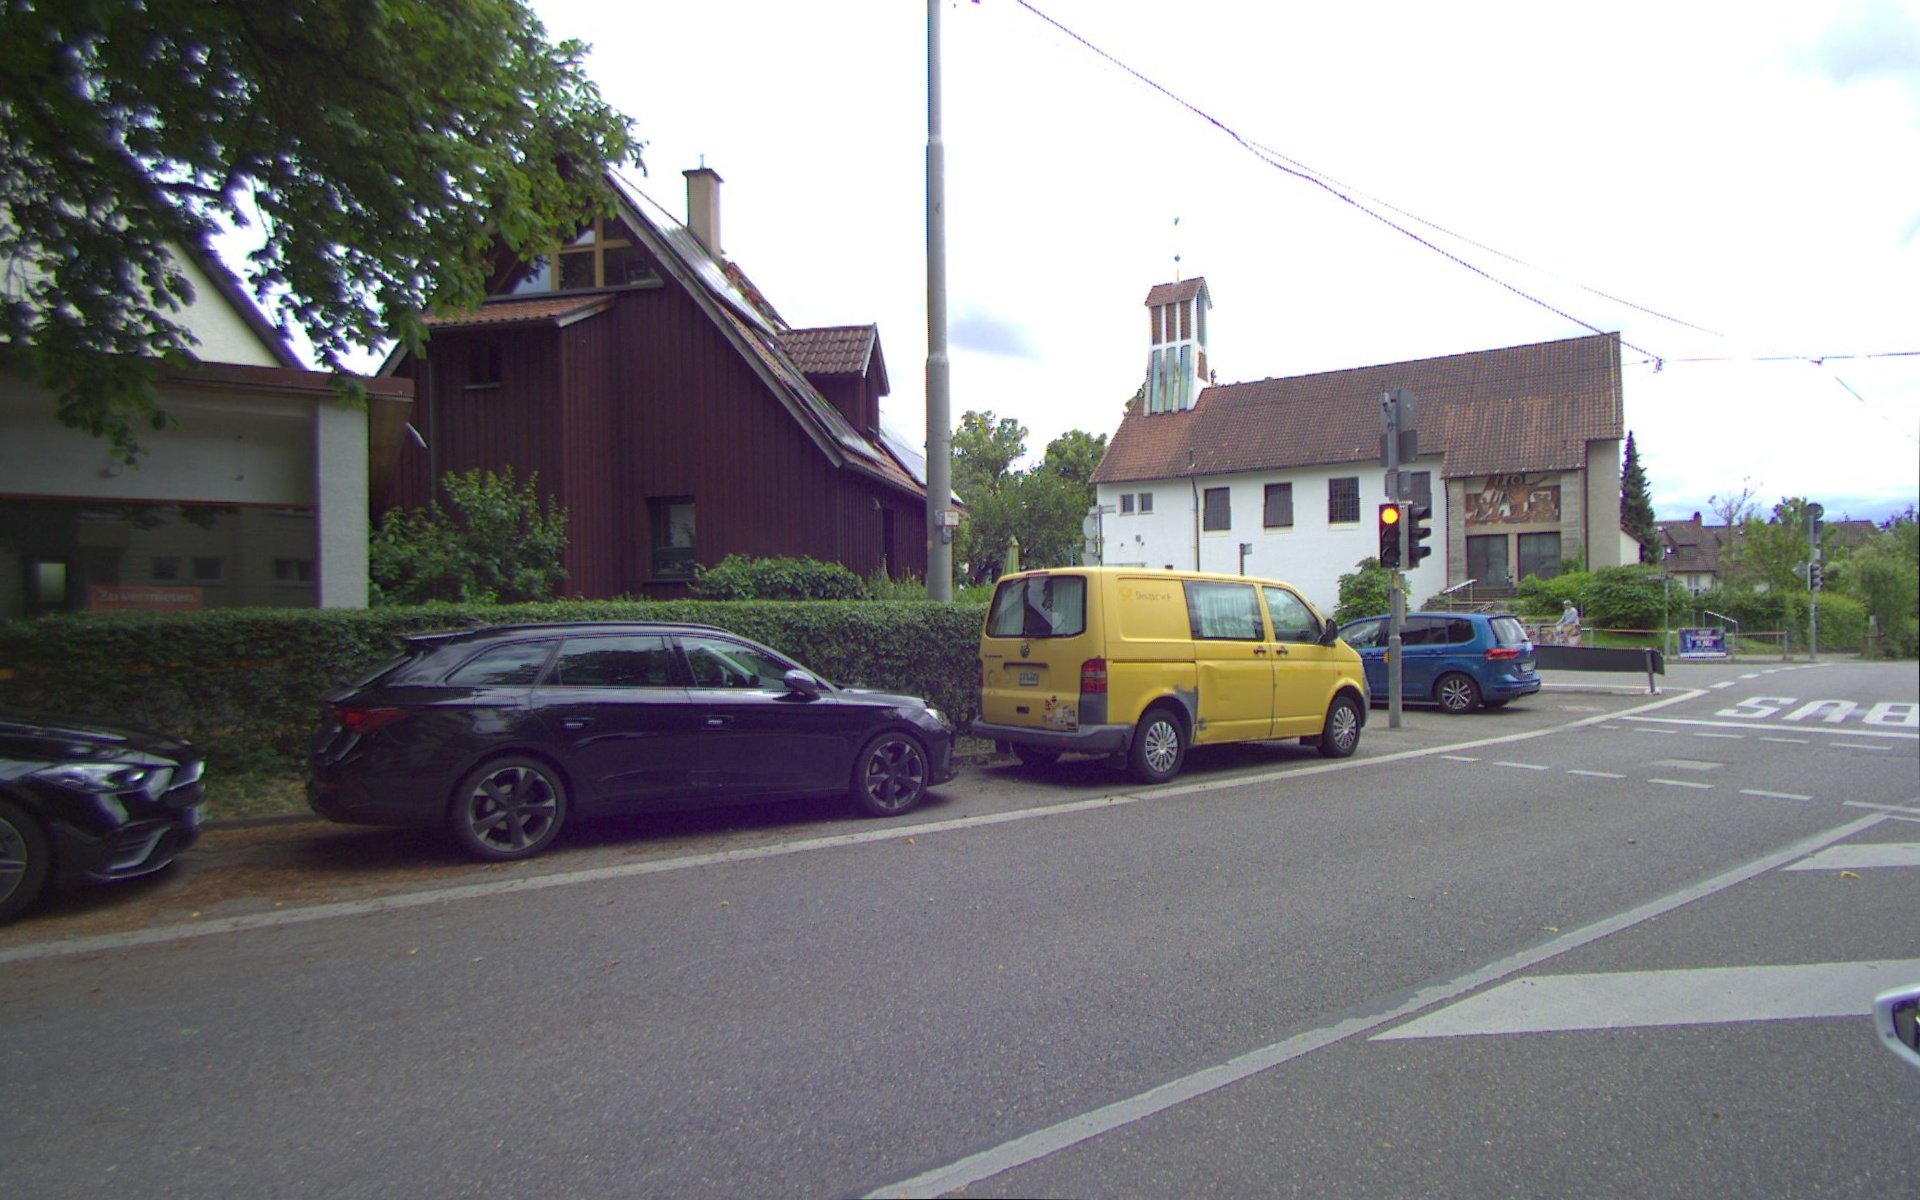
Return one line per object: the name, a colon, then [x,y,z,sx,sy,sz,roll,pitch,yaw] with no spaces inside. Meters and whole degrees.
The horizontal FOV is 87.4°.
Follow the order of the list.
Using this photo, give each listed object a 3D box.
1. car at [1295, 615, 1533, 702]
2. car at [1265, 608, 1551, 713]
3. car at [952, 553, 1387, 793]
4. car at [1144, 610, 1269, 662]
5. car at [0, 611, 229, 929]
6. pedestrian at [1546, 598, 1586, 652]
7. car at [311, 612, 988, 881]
car: [8.732,1.069,19.464,3.848,1.492,1.836,-1,-1,41]
car: [7.605,0.964,17.316,1.833,1.567,4.125,0,-1,-43]
car: [2.376,0.665,10.676,4.756,2.016,1.902,1,-2,-37]
car: [7.525,1.092,30.909,3.610,1.509,1.776,-1,0,12]
car: [-6.247,0.778,4.567,4.541,1.469,1.736,1,-2,-31]
pedestrian: [19.330,0.785,32.050,0.815,1.675,0.689,2,0,-2]
car: [-2.112,0.863,7.442,4.464,1.469,1.736,1,-2,-33]
